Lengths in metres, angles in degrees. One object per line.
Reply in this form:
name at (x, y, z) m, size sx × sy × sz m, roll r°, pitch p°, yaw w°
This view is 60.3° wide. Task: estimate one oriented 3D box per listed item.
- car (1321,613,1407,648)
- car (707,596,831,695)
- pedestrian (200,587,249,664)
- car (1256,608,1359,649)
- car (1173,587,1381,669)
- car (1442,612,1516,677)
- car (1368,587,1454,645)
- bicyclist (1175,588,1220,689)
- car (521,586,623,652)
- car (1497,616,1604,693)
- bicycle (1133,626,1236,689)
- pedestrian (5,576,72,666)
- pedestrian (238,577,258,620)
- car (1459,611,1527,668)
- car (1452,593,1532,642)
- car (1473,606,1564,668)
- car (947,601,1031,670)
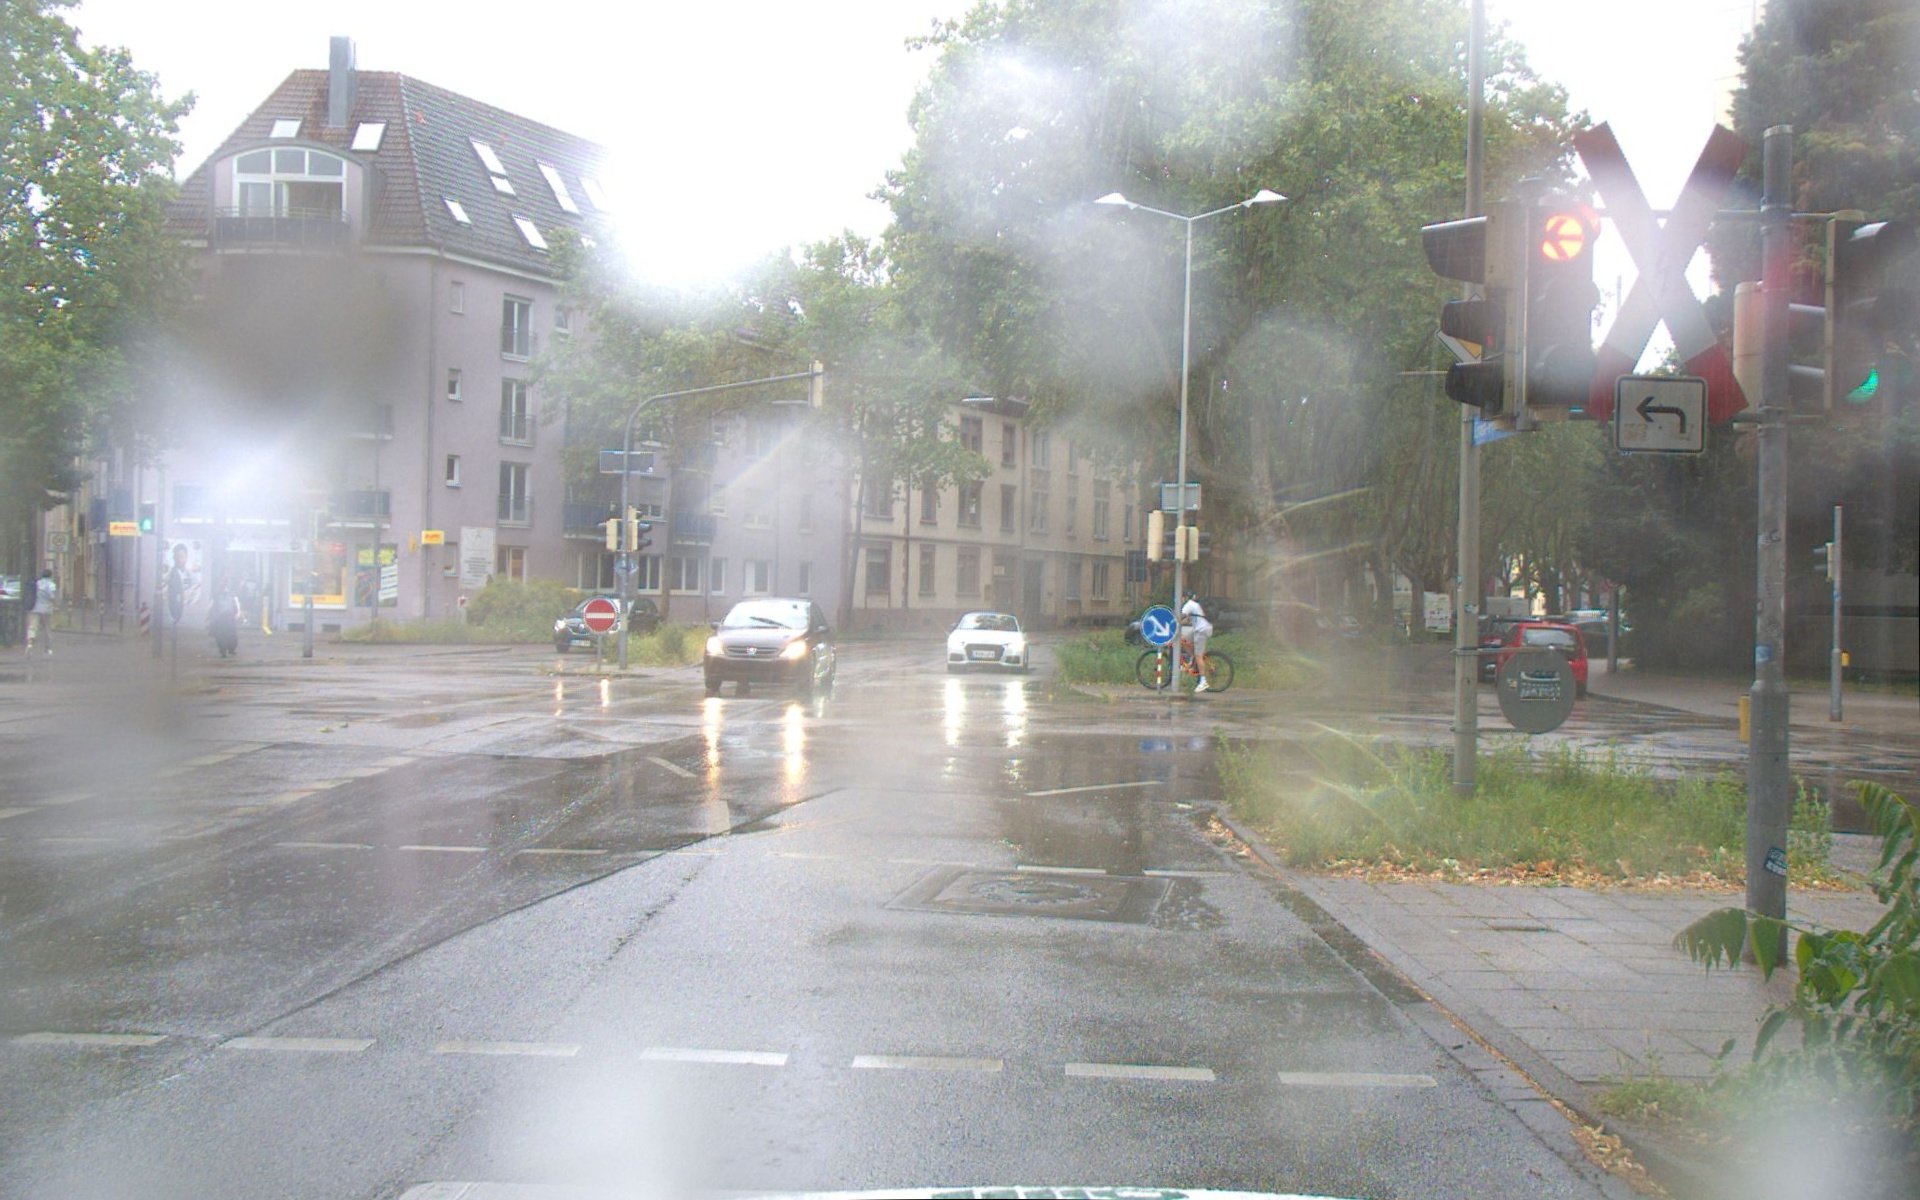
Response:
car at (19.258, 1.436, 78.930) m, size 3.902 × 1.574 × 2.002 m, roll 1°, pitch 0°, yaw 12°
car at (-3.073, 0.703, 27.252) m, size 1.679 × 1.485 × 3.747 m, roll 1°, pitch 0°, yaw -1°
pedestrian at (-15.083, 0.525, 33.946) m, size 0.736 × 1.560 × 0.789 m, roll 1°, pitch -1°, yaw -12°
car at (13.787, 1.115, 65.671) m, size 3.902 × 1.512 × 2.002 m, roll 1°, pitch 0°, yaw 12°
car at (6.282, 0.535, 32.796) m, size 3.902 × 1.512 × 2.002 m, roll 1°, pitch 0°, yaw 12°
car at (14.986, 1.251, 47.913) m, size 1.745 × 1.757 × 4.003 m, roll 1°, pitch 0°, yaw 13°
car at (23.951, 0.841, 88.073) m, size 2.005 × 2.999 × 4.742 m, roll 1°, pitch 0°, yaw -21°
bicyclist at (4.358, 0.696, 30.423) m, size 0.778 × 1.817 × 0.697 m, roll 1°, pitch -1°, yaw 7°
car at (-9.629, 0.446, 41.349) m, size 1.716 × 1.538 × 3.838 m, roll 1°, pitch 0°, yaw -2°
car at (13.048, 1.161, 36.739) m, size 1.754 × 1.524 × 4.003 m, roll 1°, pitch 0°, yaw 13°
bicycle at (4.127, 1.051, 30.447) m, size 1.833 × 1.100 × 0.657 m, roll 1°, pitch 0°, yaw 7°
pedestrian at (-17.082, 0.383, 30.680) m, size 0.659 × 1.628 × 0.968 m, roll 1°, pitch 0°, yaw -1°
pedestrian at (-22.866, -0.049, 53.113) m, size 0.553 × 1.353 × 0.441 m, roll 1°, pitch -1°, yaw -27°
car at (18.342, 1.327, 57.092) m, size 1.881 × 1.837 × 4.003 m, roll 1°, pitch 0°, yaw 13°
car at (33.666, 1.076, 104.817) m, size 1.974 × 2.999 × 4.720 m, roll 1°, pitch 0°, yaw -31°
car at (13.893, 0.875, 41.309) m, size 1.745 × 1.371 × 3.932 m, roll 1°, pitch 1°, yaw 13°
car at (0.694, 0.797, 39.089) m, size 1.845 × 1.461 × 4.001 m, roll 1°, pitch 0°, yaw 1°
